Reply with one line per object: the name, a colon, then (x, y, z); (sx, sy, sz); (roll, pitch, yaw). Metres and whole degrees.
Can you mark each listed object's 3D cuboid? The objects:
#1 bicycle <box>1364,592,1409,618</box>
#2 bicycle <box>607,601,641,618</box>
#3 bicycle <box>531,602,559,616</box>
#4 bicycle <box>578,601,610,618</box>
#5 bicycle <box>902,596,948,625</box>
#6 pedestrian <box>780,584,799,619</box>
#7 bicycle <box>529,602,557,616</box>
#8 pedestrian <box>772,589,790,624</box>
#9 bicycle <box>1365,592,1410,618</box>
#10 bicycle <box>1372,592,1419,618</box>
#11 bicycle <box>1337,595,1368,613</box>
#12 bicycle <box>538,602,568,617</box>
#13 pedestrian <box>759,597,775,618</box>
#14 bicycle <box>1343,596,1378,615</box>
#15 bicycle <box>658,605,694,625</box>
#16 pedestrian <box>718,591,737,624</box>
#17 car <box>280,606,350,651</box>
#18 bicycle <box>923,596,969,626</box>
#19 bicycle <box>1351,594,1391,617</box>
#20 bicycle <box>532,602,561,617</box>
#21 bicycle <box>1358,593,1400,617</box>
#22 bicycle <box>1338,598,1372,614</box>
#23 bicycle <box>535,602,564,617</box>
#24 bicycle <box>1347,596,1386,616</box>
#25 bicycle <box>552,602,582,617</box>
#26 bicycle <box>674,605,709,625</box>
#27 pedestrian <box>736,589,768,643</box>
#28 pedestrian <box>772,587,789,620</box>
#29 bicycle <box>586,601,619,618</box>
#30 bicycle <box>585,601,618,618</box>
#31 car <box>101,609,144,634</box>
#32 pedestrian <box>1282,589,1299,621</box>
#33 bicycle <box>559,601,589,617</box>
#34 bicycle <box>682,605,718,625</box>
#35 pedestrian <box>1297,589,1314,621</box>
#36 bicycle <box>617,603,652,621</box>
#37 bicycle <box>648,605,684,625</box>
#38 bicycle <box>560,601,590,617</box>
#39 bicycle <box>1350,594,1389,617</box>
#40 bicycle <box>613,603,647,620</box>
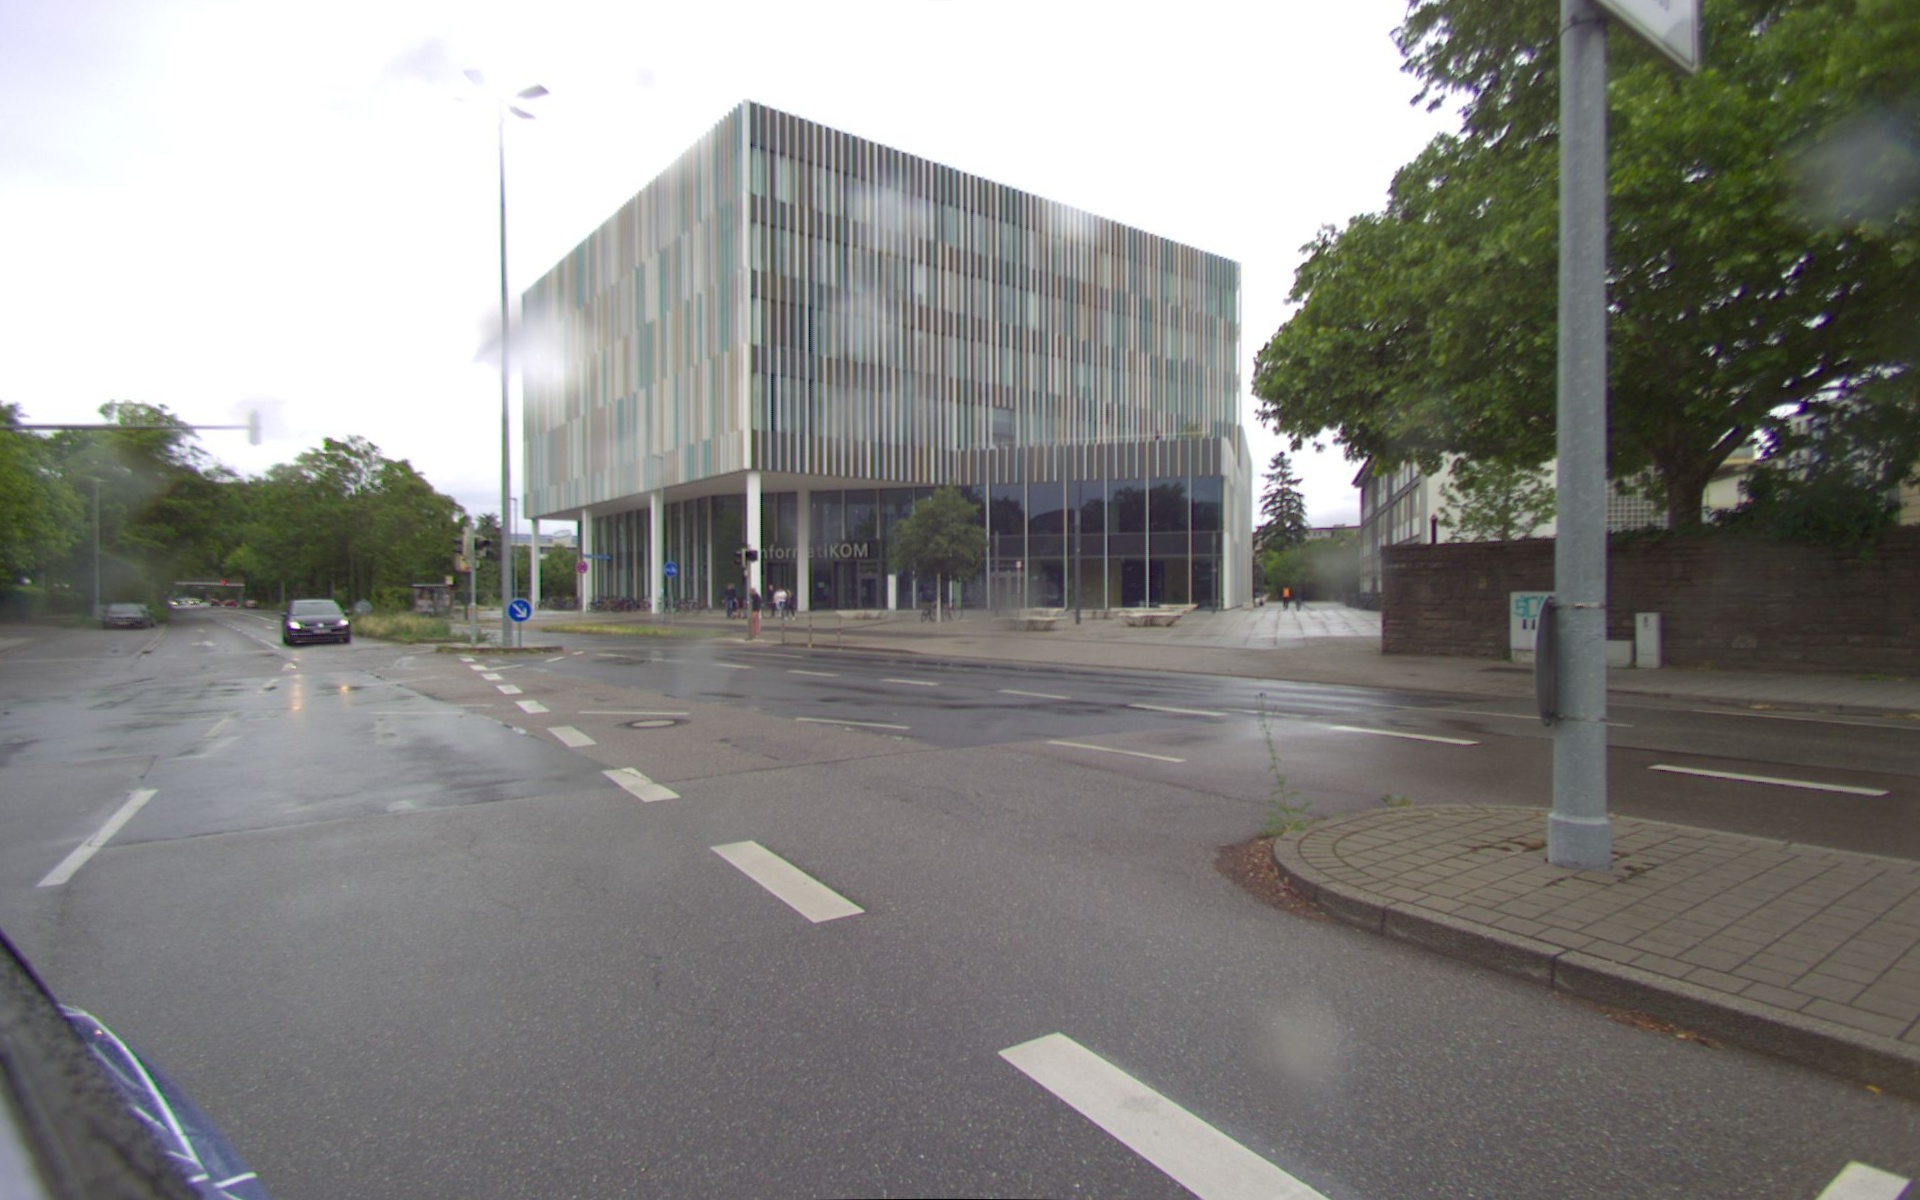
bicycle: (23.377, 0.274, 55.466); (2.251, 1.376, 0.760); (-1, 0, 24)
bicycle: (-24.239, 0.671, 73.029); (2.246, 1.231, 0.601); (0, 0, -26)
bicycle: (-35.748, 0.784, 87.212); (2.246, 1.231, 0.601); (0, 0, -26)
bicycle: (-27.976, 0.725, 77.307); (2.246, 1.231, 0.601); (0, 0, -26)
bicycle: (-1.489, 0.450, 43.927); (0.599, 1.231, 2.254); (-1, 0, 42)
pedestrian: (-9.025, 0.066, 53.487); (0.622, 1.838, 0.778); (-1, 0, 31)
bicycle: (-36.911, 0.797, 89.480); (2.246, 1.231, 0.601); (0, 0, -26)
pedestrian: (-9.596, 0.344, 54.253); (0.622, 1.838, 0.778); (-1, 0, 31)
bicycle: (23.065, 0.275, 54.618); (2.251, 1.376, 0.760); (-1, 0, 24)
bicycle: (22.927, 0.275, 53.317); (2.251, 1.376, 0.760); (-1, 0, 24)
bicycle: (30.905, 0.319, 79.648); (2.251, 1.412, 0.760); (-1, 0, 24)
bicycle: (-33.980, 0.766, 84.478); (2.246, 1.231, 0.601); (0, 0, -26)
pedestrian: (-10.773, 0.435, 56.457); (0.614, 1.161, 0.789); (0, 0, -33)
bicycle: (27.921, 0.374, 70.521); (2.251, 1.321, 0.760); (-1, 0, 24)
bicycle: (-18.391, 0.956, 65.530); (0.599, 1.231, 2.254); (-1, 0, 42)
pedestrian: (-12.924, 0.404, 56.292); (0.910, 1.838, 0.940); (0, 0, -2)
car: (-21.436, 0.891, 33.583); (1.635, 1.375, 4.116); (0, 0, -37)
bicycle: (-0.585, 0.468, 43.366); (0.599, 1.231, 2.254); (-1, 0, 42)
bicycle: (25.467, 0.354, 62.744); (2.251, 1.376, 0.760); (-1, 0, 24)
bicycle: (-35.172, 0.778, 86.085); (2.246, 1.231, 0.601); (0, 0, -26)
bicycle: (24.253, 0.272, 58.576); (2.251, 1.376, 0.760); (-1, 0, 24)
bicycle: (28.546, 0.445, 73.076); (2.251, 1.176, 0.760); (-1, 0, 24)
bicycle: (-34.532, 0.772, 85.172); (2.246, 1.231, 0.601); (0, 0, -26)
bicycle: (26.143, 0.398, 65.094); (2.251, 1.285, 0.760); (-1, 0, 24)
bicycle: (-32.437, 0.753, 83.578); (2.246, 1.231, 0.601); (0, 0, -26)
bicycle: (-17.147, 0.945, 64.693); (0.599, 1.231, 2.254); (-1, 0, 42)
pedestrian: (-7.297, 0.553, 35.510); (0.793, 1.838, 0.778); (-1, 0, 31)
pedestrian: (-10.102, 0.186, 56.941); (0.622, 1.838, 0.778); (-1, 0, 31)
bicycle: (-26.525, 0.693, 75.153); (2.246, 1.231, 0.601); (0, 0, -26)
bicycle: (-26.904, 0.697, 75.902); (2.246, 1.231, 0.601); (0, 0, -26)
car: (-46.383, 1.159, 56.078); (1.635, 1.276, 4.116); (0, 0, -37)
pedestrian: (21.112, 0.293, 64.694); (0.900, 2.029, 0.837); (-1, 0, 27)
bicycle: (-31.250, 0.741, 81.987); (2.246, 1.231, 0.601); (0, 0, -26)
bicycle: (-16.522, 0.939, 64.386); (0.599, 1.231, 2.254); (-1, 0, 42)
pedestrian: (21.933, 0.314, 64.175); (0.900, 2.029, 0.837); (-1, 0, 27)
bicycle: (-22.952, 0.823, 71.333); (2.246, 1.231, 0.601); (0, 0, -26)
bicycle: (-19.251, 0.964, 66.261); (0.599, 1.231, 2.254); (-1, 0, 42)
bicycle: (-31.437, 0.743, 82.726); (2.246, 1.231, 0.601); (0, 0, -26)
bicycle: (25.732, 0.326, 63.573); (2.251, 1.430, 0.760); (-1, 0, 24)
bicycle: (-23.566, 0.814, 72.234); (2.246, 1.231, 0.601); (0, 0, -26)
